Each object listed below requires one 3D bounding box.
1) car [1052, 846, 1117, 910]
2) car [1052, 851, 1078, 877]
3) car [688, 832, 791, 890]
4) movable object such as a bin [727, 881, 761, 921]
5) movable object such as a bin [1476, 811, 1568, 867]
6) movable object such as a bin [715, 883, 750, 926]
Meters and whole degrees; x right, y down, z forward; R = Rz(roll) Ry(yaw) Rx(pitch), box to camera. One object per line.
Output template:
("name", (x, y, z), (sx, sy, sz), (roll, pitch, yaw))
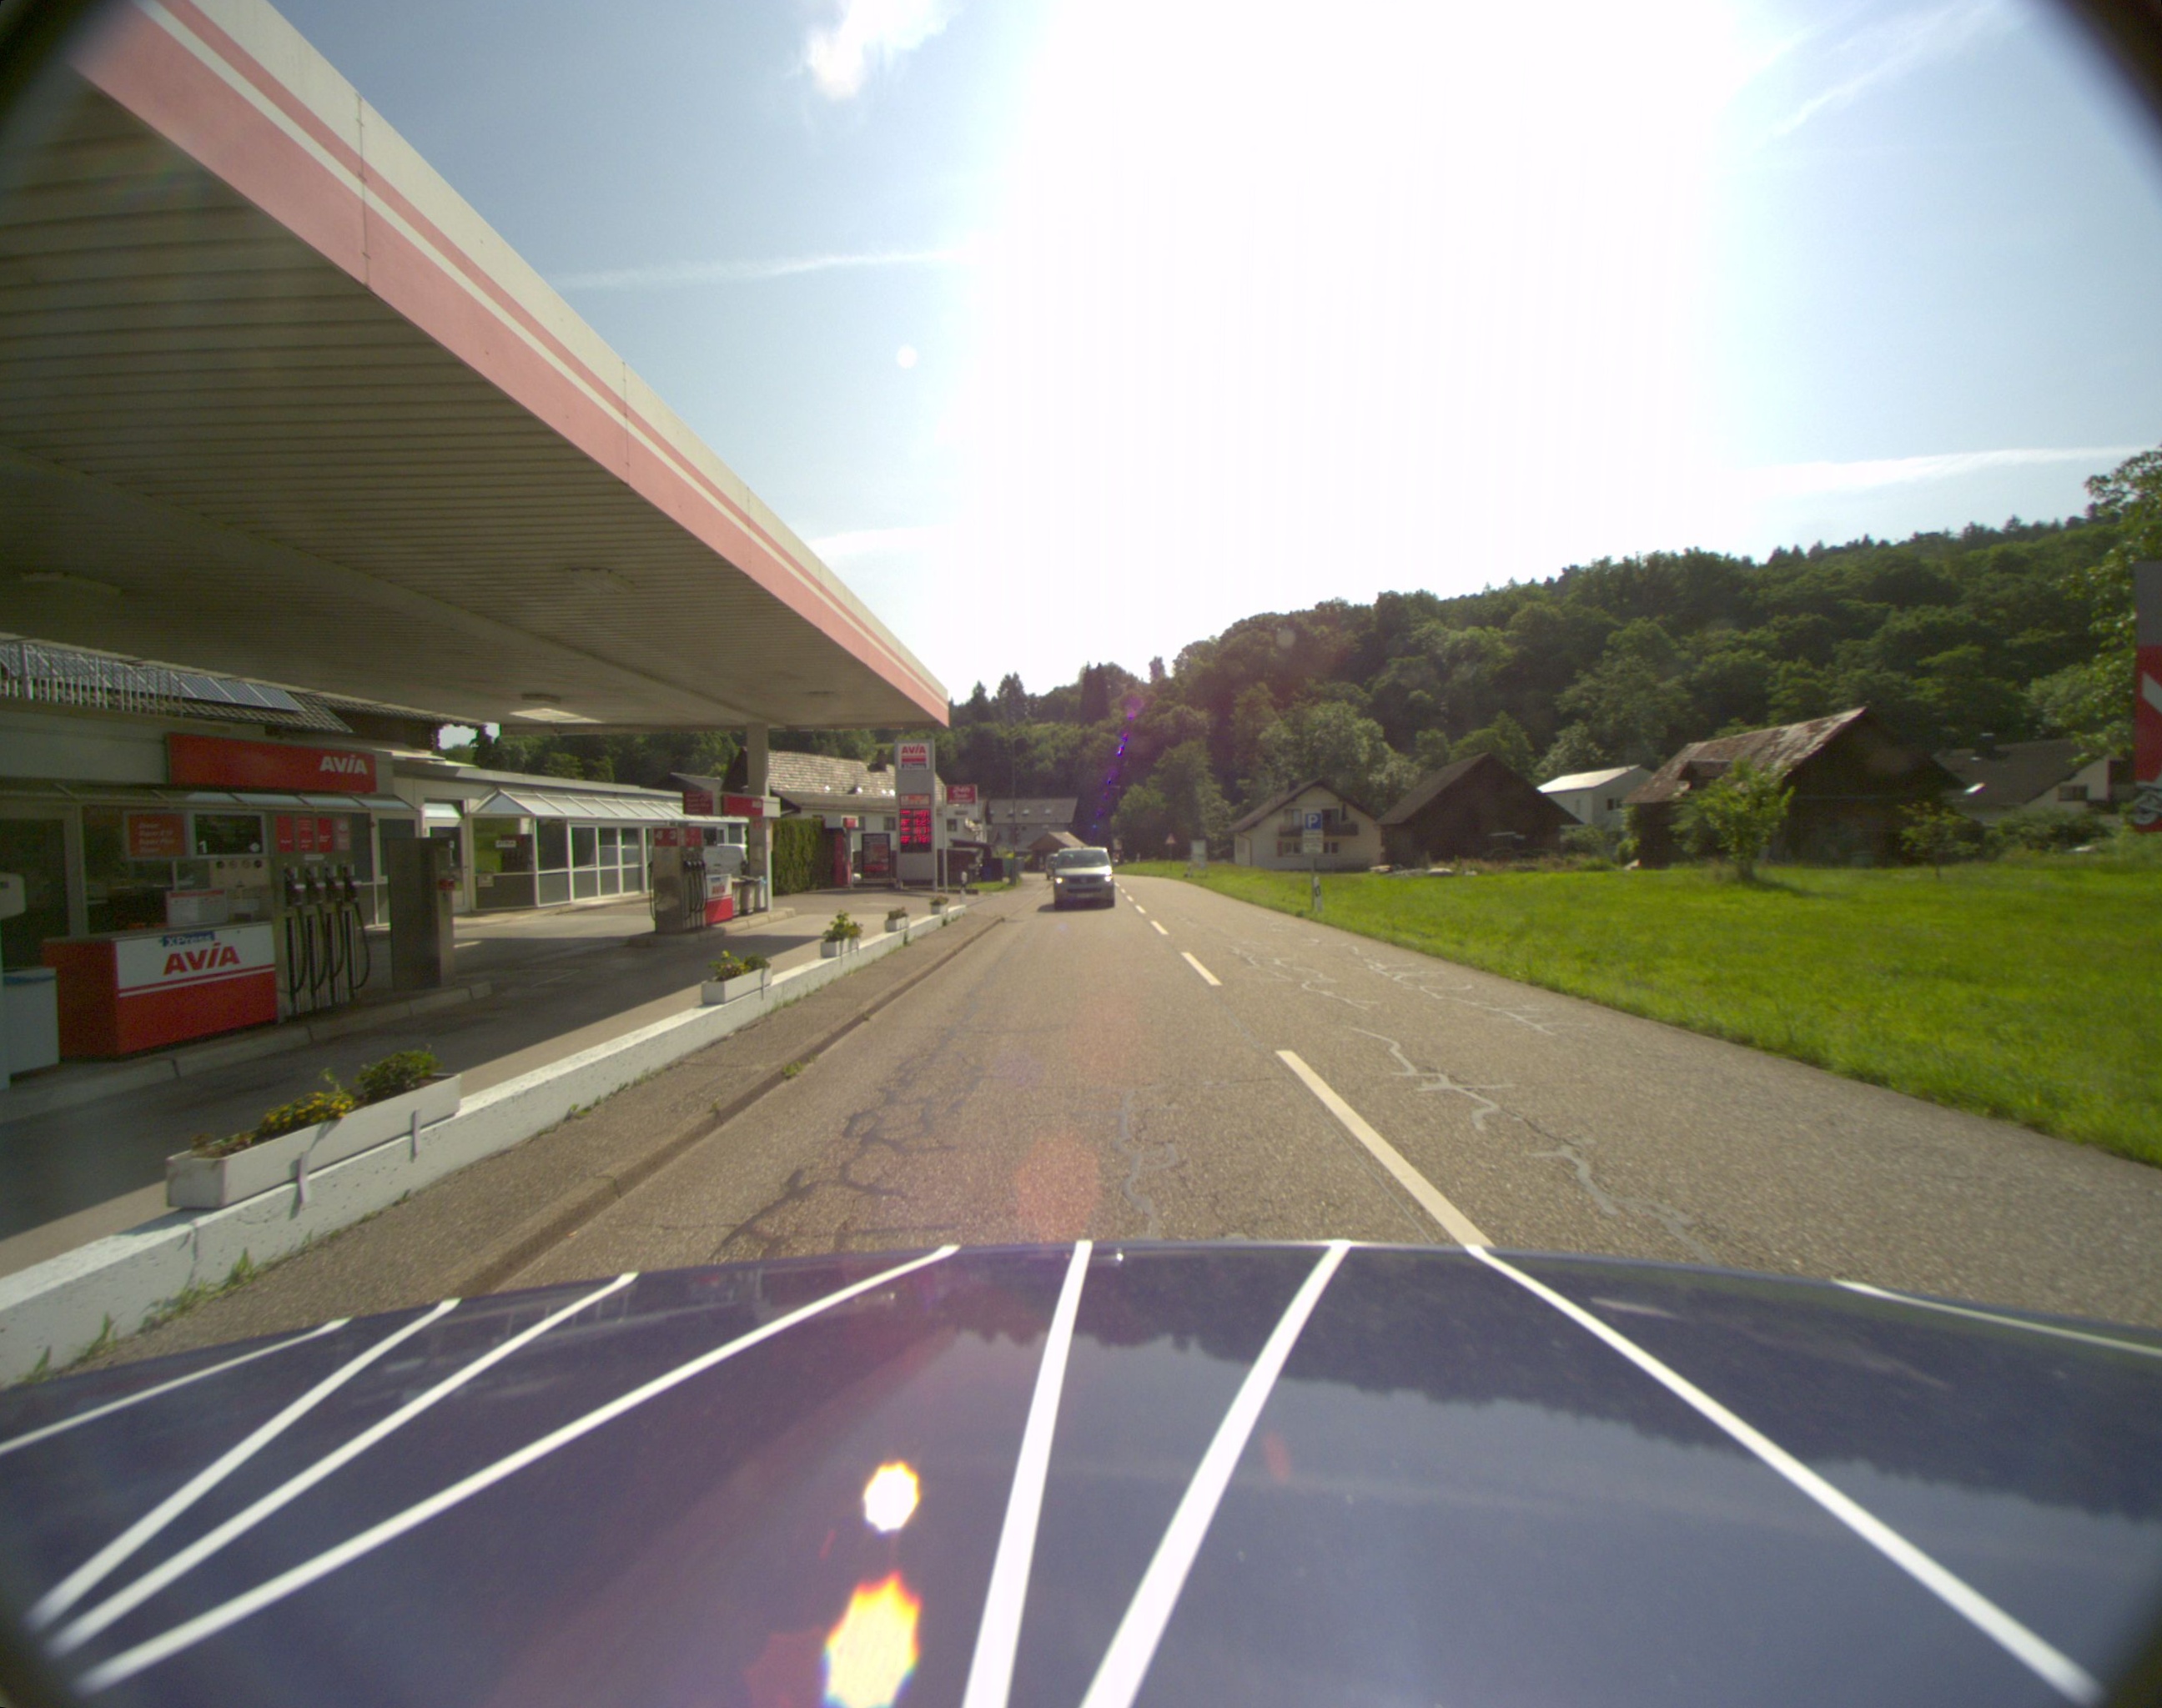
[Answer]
("car", (0.047, 0.767, 26.437), (2.024, 1.970, 5.048), (1, 0, -2))
("car", (-1.186, 0.766, 57.922), (1.896, 1.846, 4.703), (-1, 0, -1))
("car", (-11.788, 0.172, 26.563), (1.684, 1.805, 3.999), (-3, 1, 0))
("movable object such as a bin", (-7.294, 1.012, 16.464), (0.481, 0.840, 0.528), (-2, 1, -1))
("movable object such as a bin", (25.805, -0.858, 44.589), (4.185, 3.119, 2.205), (-1, 1, 15))
("movable object such as a bin", (-7.291, 1.049, 15.922), (0.481, 0.840, 0.496), (-2, 1, -1))
